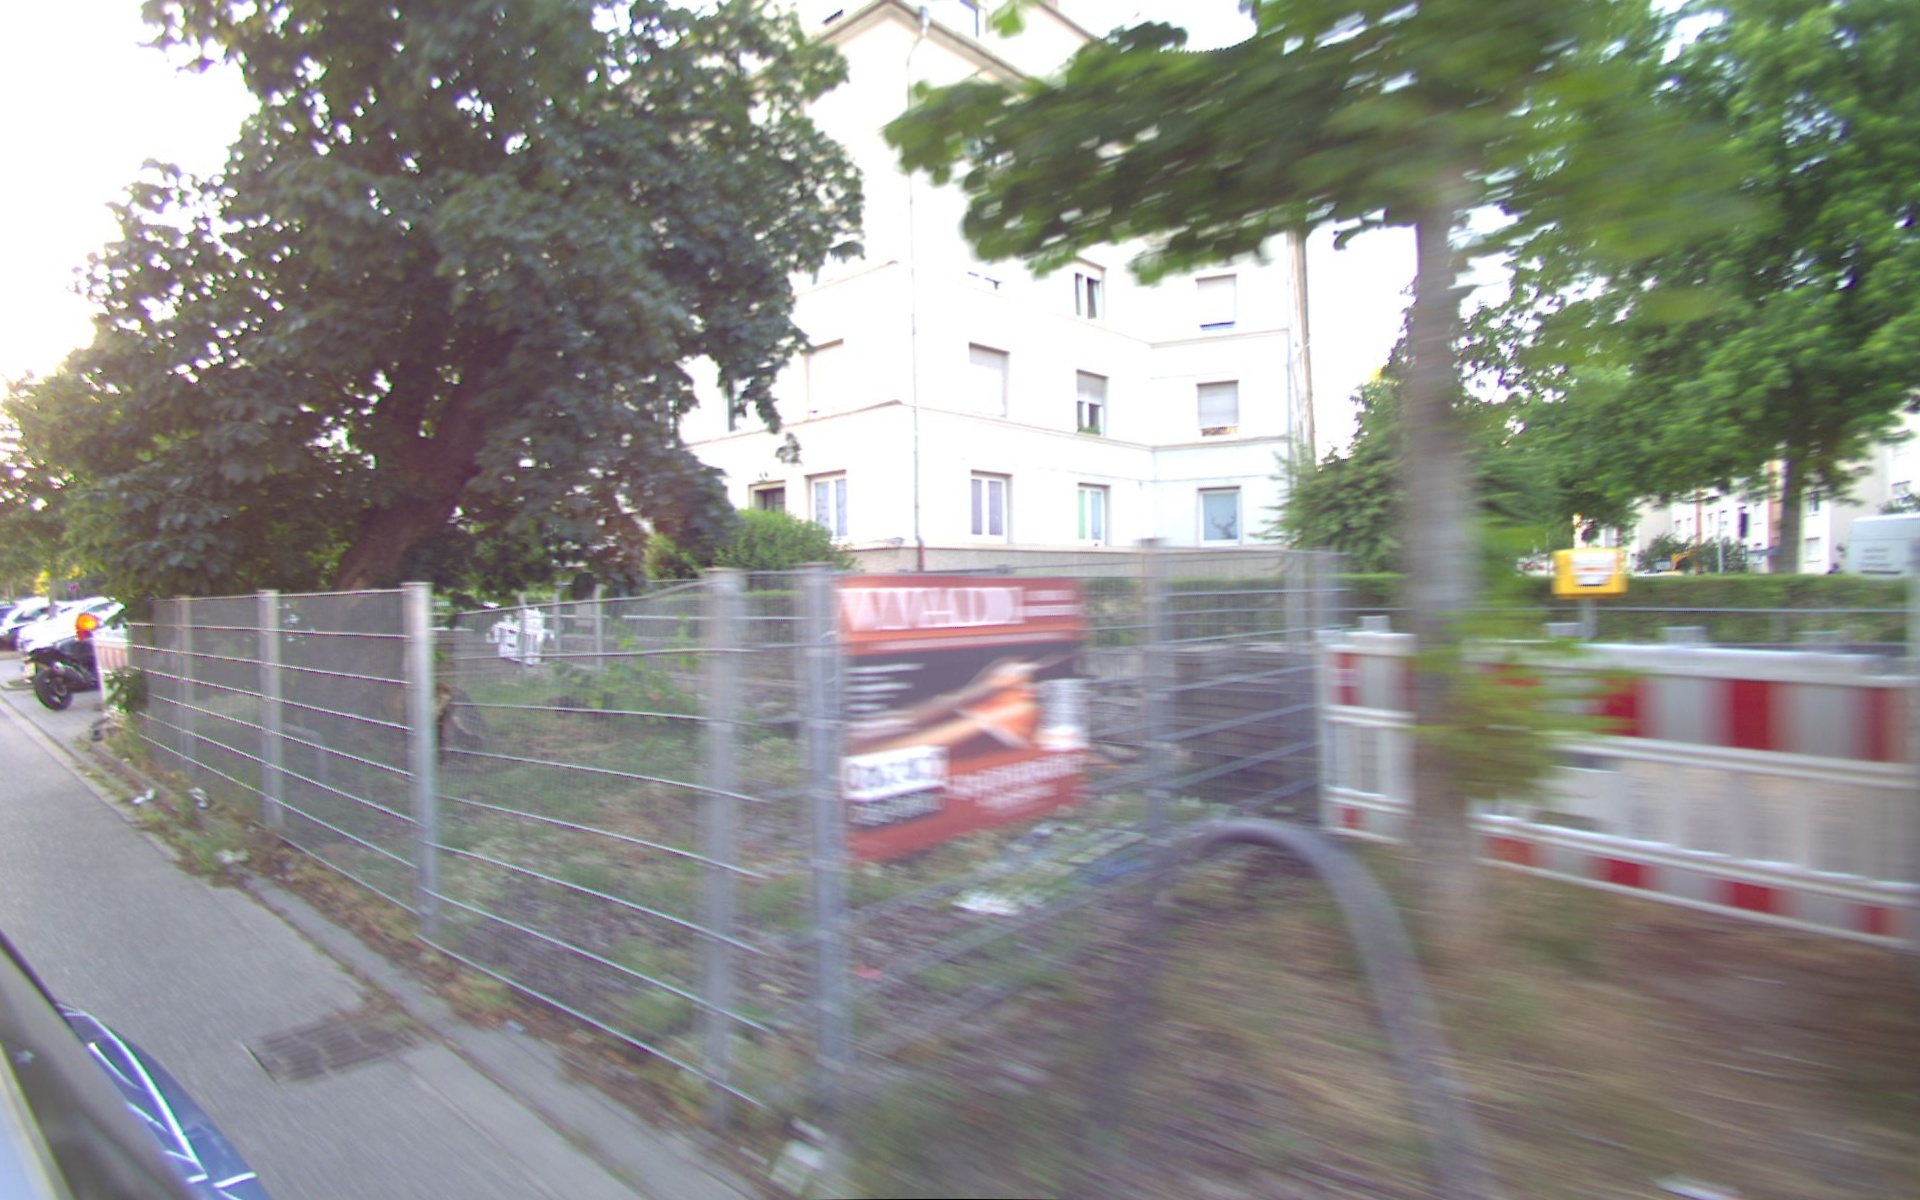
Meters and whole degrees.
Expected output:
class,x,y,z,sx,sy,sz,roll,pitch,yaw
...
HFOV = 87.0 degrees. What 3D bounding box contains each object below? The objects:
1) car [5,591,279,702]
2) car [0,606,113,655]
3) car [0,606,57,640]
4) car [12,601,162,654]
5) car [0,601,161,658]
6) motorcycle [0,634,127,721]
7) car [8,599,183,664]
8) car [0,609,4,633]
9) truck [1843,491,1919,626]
class,x,y,z,sx,sy,sz,roll,pitch,yaw
car,-14.760,0.761,18.396,1.693,1.568,3.585,-1,3,42
car,-31.663,1.043,34.859,1.729,1.456,3.636,0,2,44
car,-45.595,1.131,48.150,1.727,1.495,3.662,-2,2,41
car,-29.057,0.870,33.755,3.635,1.495,1.729,-3,2,-45
car,-27.264,0.854,31.195,1.729,1.500,3.933,0,2,45
motorcycle,-13.178,1.093,14.931,0.530,1.028,2.218,-4,2,-18
car,-24.301,0.826,28.535,1.726,1.577,3.442,0,2,38
car,-87.751,1.928,89.405,4.718,2.085,2.002,-2,0,-43
truck,18.215,-0.793,17.658,2.092,2.441,6.006,-3,0,20
